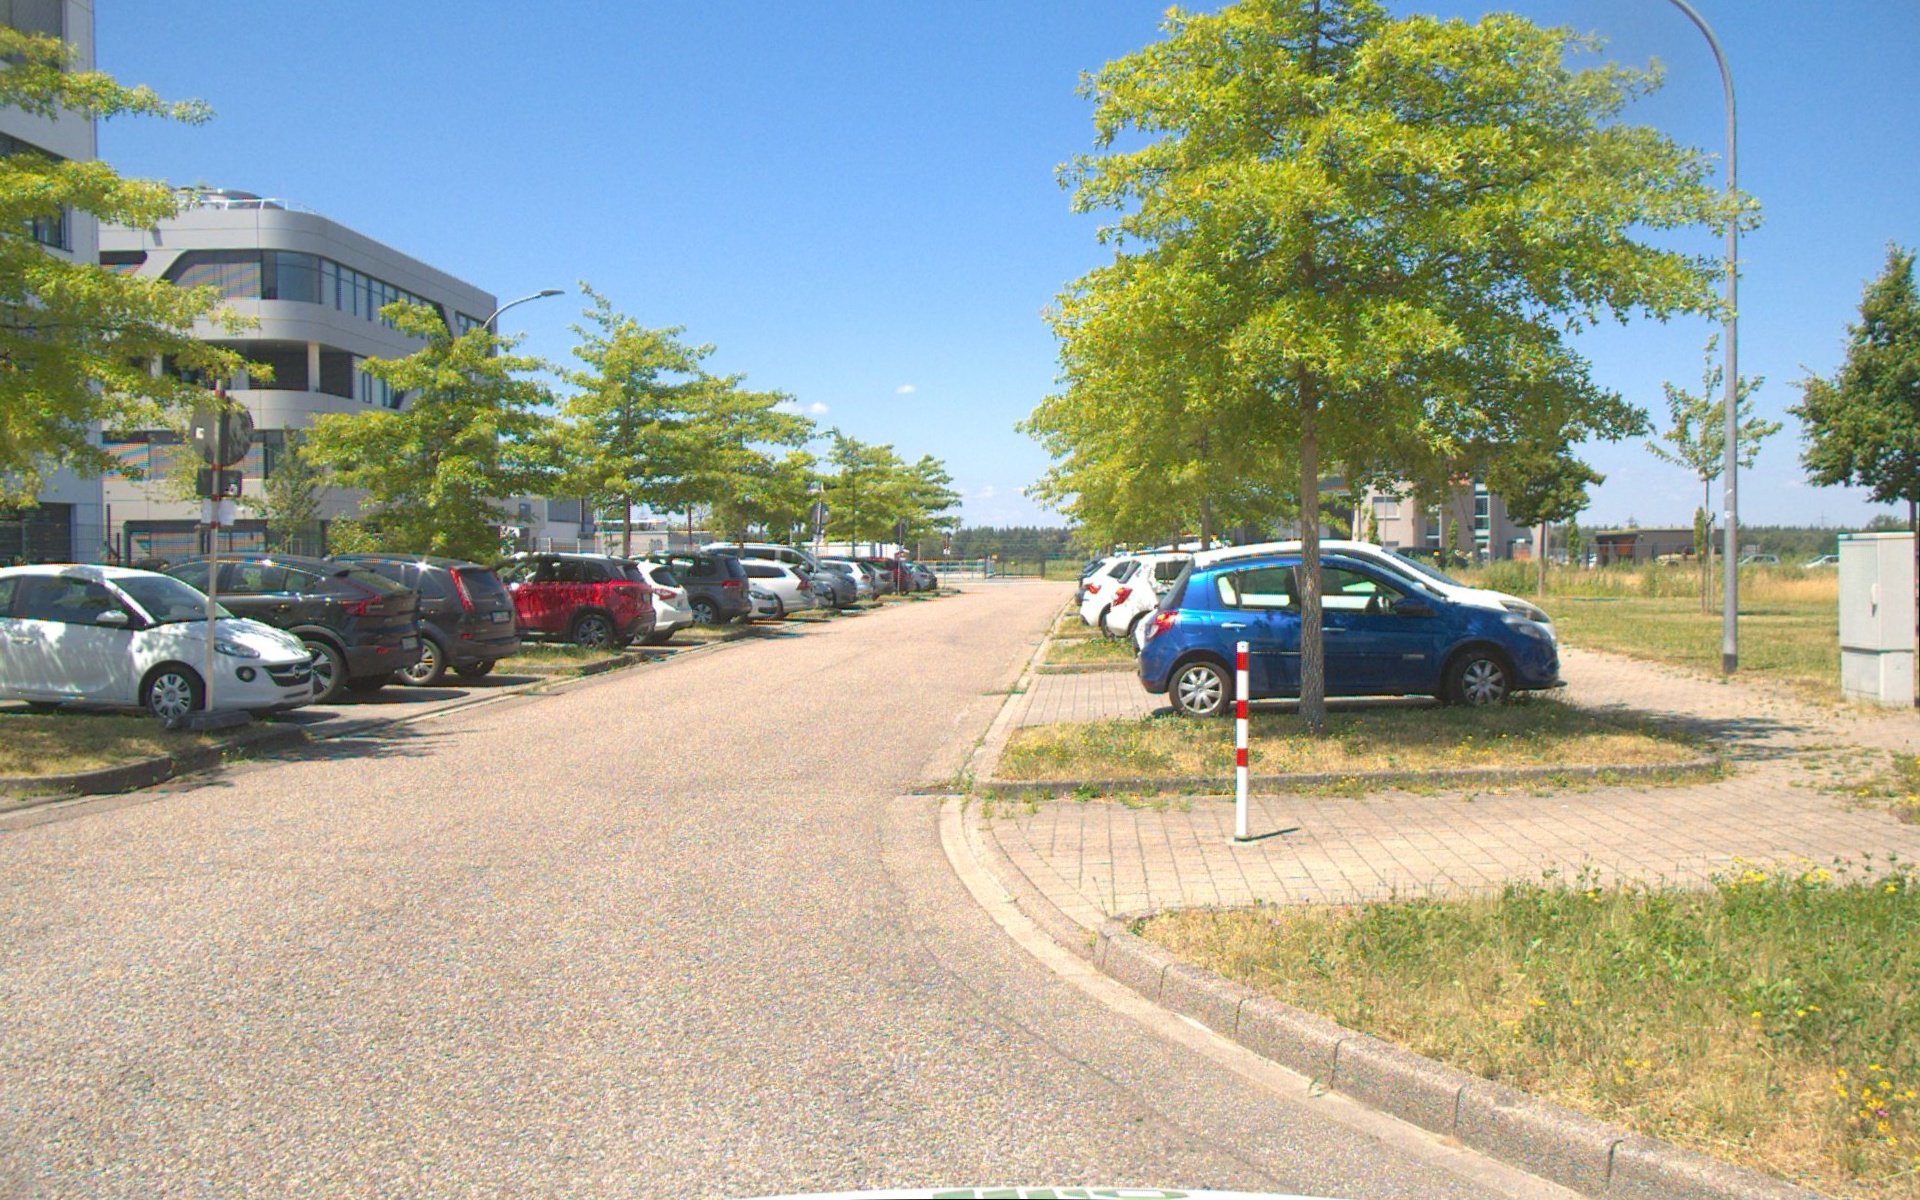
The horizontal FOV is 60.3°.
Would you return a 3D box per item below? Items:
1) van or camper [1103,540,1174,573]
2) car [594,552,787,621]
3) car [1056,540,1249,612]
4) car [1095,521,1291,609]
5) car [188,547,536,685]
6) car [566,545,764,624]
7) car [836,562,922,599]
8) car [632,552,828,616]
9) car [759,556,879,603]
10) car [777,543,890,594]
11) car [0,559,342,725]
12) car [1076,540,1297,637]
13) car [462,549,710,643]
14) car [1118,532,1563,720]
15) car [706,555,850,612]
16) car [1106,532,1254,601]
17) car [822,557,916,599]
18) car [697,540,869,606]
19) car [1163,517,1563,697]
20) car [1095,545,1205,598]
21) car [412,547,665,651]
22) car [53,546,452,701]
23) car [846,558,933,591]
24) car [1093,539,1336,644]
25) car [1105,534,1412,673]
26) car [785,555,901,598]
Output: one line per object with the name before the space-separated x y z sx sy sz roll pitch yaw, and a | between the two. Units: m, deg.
van or camper | 12.450 -3.044 115.334 4.832 2.201 2.001 0 1 4
car | -6.327 -0.340 39.141 4.221 1.499 1.728 1 2 2
car | 4.788 -0.607 41.706 4.619 1.588 1.914 -2 1 1
car | 4.897 -0.735 35.140 3.961 1.653 1.694 -2 1 5
car | -7.648 0.168 21.362 3.824 1.619 1.729 1 2 4
car | -6.553 -0.366 36.996 4.031 1.663 1.728 1 2 3
car | -3.473 -0.847 71.263 3.581 1.535 1.731 1 1 1
car | -5.744 -0.415 41.656 4.615 1.472 1.858 1 2 1
car | -4.852 -0.721 57.275 3.953 1.486 1.605 2 1 1
car | -4.529 -1.139 59.505 3.905 1.707 1.777 1 1 -1
car | -8.172 0.370 16.353 3.431 1.466 1.729 1 2 4
car | 4.040 -0.223 29.394 3.752 1.580 1.781 -1 2 10
car | -6.863 -0.100 30.540 4.084 1.539 1.809 2 3 6
car | 3.573 0.222 15.985 3.911 1.516 1.729 -3 1 8
car | -5.271 -0.492 48.240 3.885 1.509 1.765 2 1 5
car | 6.617 -1.014 50.116 4.310 1.861 1.797 -2 1 5
car | -3.766 -0.926 68.659 3.658 1.649 1.818 1 1 5
car | -5.451 -0.841 51.173 4.962 1.924 1.999 1 1 6
car | 4.347 0.061 18.272 4.022 1.679 1.776 -3 1 10
car | 6.767 -1.019 59.115 3.793 1.707 1.783 -2 1 5
car | -7.039 -0.048 27.830 3.759 1.619 1.728 1 2 2
car | -8.006 0.230 18.966 3.759 1.621 1.830 1 2 1
car | -3.306 -1.208 78.052 3.991 1.448 1.874 1 1 1
car | 4.070 -0.153 26.923 3.754 1.550 1.781 -1 1 4
car | 3.721 0.022 21.023 3.544 1.488 1.611 -3 1 0
car | -4.373 -0.895 62.362 4.105 1.506 1.714 2 1 5
